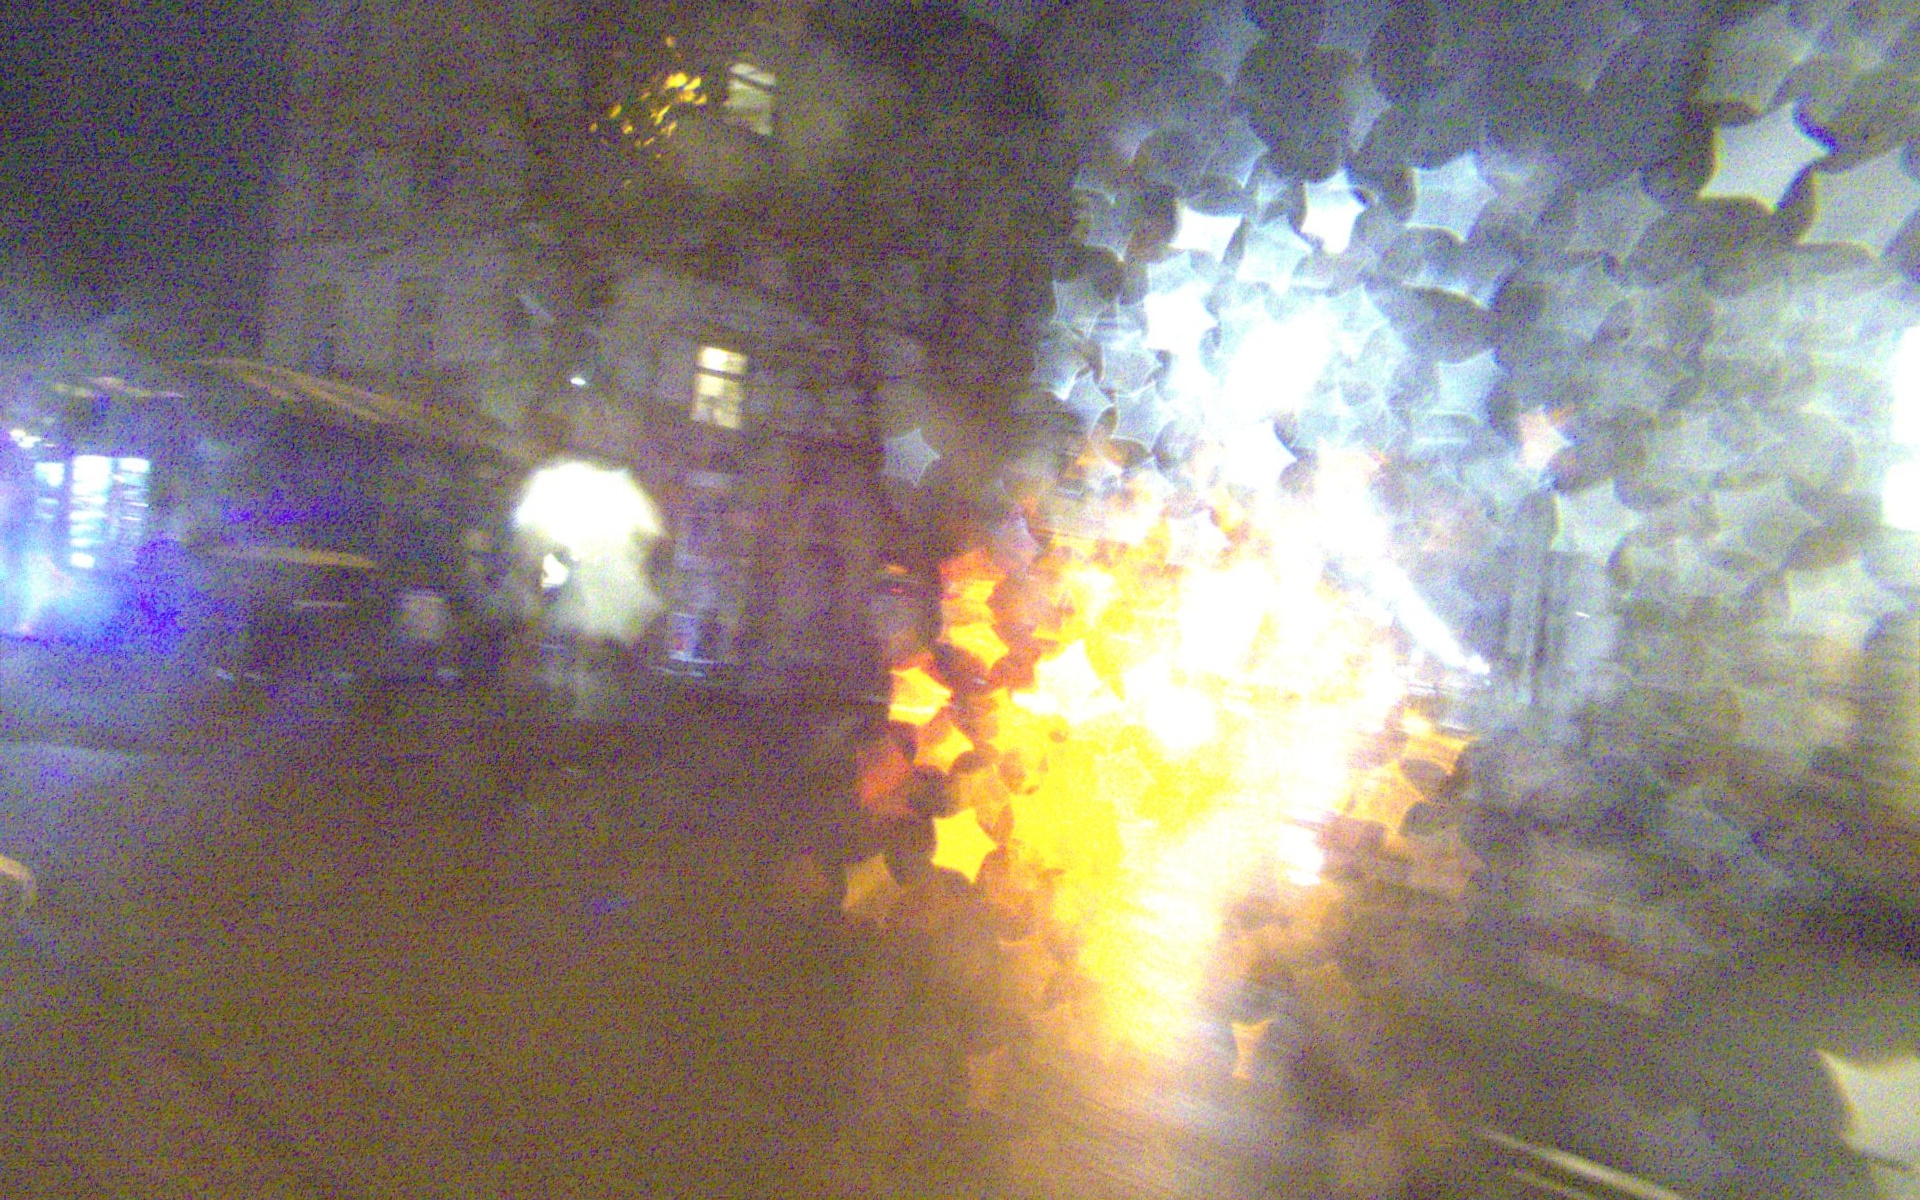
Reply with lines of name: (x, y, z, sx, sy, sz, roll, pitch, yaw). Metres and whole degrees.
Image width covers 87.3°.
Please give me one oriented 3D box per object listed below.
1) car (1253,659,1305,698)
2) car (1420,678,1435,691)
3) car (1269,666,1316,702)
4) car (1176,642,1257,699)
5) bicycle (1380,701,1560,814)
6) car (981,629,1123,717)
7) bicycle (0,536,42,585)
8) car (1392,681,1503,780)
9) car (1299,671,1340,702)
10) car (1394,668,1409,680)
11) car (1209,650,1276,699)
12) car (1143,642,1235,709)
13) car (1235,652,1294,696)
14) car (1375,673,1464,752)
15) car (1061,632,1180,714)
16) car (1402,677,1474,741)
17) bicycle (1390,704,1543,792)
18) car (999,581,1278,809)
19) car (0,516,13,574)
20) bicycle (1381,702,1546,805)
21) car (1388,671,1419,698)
car: (16.973, 4.149, 53.421, 1.966, 1.764, 4.692, 6, -1, 24)
car: (75.654, 13.660, 162.692, 1.966, 1.764, 4.692, 6, -1, 24)
car: (19.352, 4.853, 58.488, 1.966, 1.764, 4.692, 6, -1, 24)
car: (9.555, 2.621, 37.234, 1.966, 1.764, 4.692, 6, -1, 24)
bicycle: (6.533, 1.992, 12.940, 1.951, 1.128, 0.507, 5, -3, 31)
car: (2.144, 1.582, 22.039, 1.739, 1.520, 4.421, 6, -1, 22)
bicycle: (-23.013, -0.987, 23.981, 1.634, 1.072, 0.450, 6, 0, -8)
car: (9.158, 2.362, 18.859, 1.582, 1.475, 3.412, 6, -1, 28)
car: (23.679, 5.662, 66.154, 1.966, 1.764, 4.692, 6, -1, 24)
car: (74.782, 12.606, 170.380, 1.967, 1.764, 4.690, 6, -1, 27)
car: (12.225, 3.200, 43.358, 1.966, 1.764, 4.692, 6, -1, 24)
car: (7.435, 2.417, 32.336, 1.966, 1.764, 4.694, 6, -1, 22)
car: (14.640, 3.549, 48.219, 1.966, 1.764, 4.692, 6, -1, 24)
car: (10.775, 2.560, 23.461, 1.582, 1.475, 3.976, 6, -1, 28)
car: (4.388, 1.935, 26.880, 1.966, 1.764, 4.694, 6, -1, 22)
car: (13.486, 3.018, 28.310, 1.582, 1.475, 3.412, 6, -1, 28)
bicycle: (7.659, 2.218, 15.237, 1.951, 1.021, 0.702, 5, -3, 31)
car: (2.426, 1.091, 12.391, 1.967, 2.073, 4.691, 6, -1, 26)
car: (-28.132, -1.747, 27.161, 1.705, 1.631, 3.465, 7, -3, -2)
bicycle: (7.095, 2.139, 14.200, 1.951, 1.128, 0.702, 5, -3, 31)
car: (34.323, 6.537, 77.810, 1.966, 1.764, 4.692, 6, -1, 24)
